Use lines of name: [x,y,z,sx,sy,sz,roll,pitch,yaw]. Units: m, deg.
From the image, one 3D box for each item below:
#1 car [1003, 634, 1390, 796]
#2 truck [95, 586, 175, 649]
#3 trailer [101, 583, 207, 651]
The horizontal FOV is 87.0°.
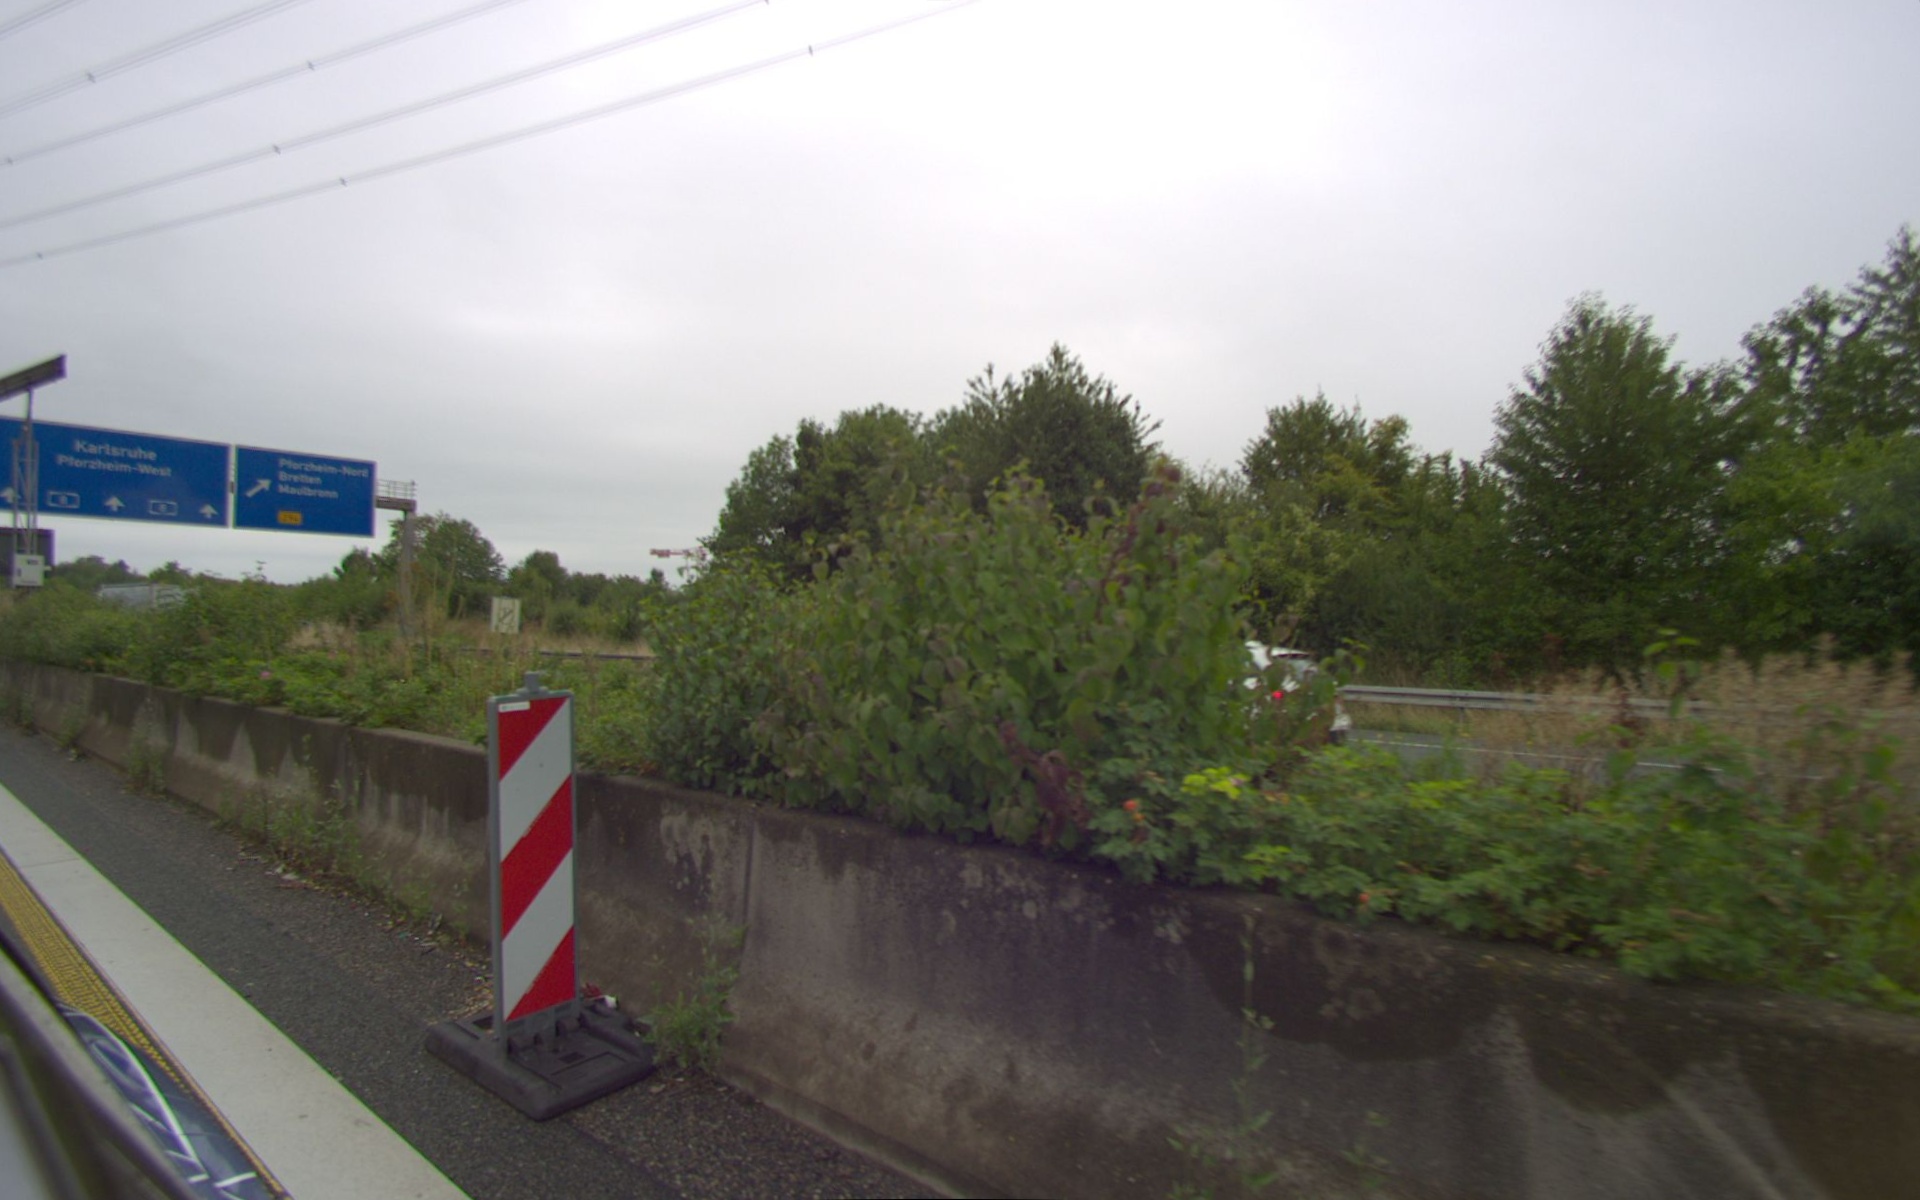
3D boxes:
car: [2.655,1.199,11.967,4.159,1.467,1.699,0,0,41]
truck: [-56.481,1.243,69.244,7.228,4.054,2.757,-1,-4,40]
trailer: [-52.979,1.174,66.317,13.241,4.054,2.757,-1,-4,40]
